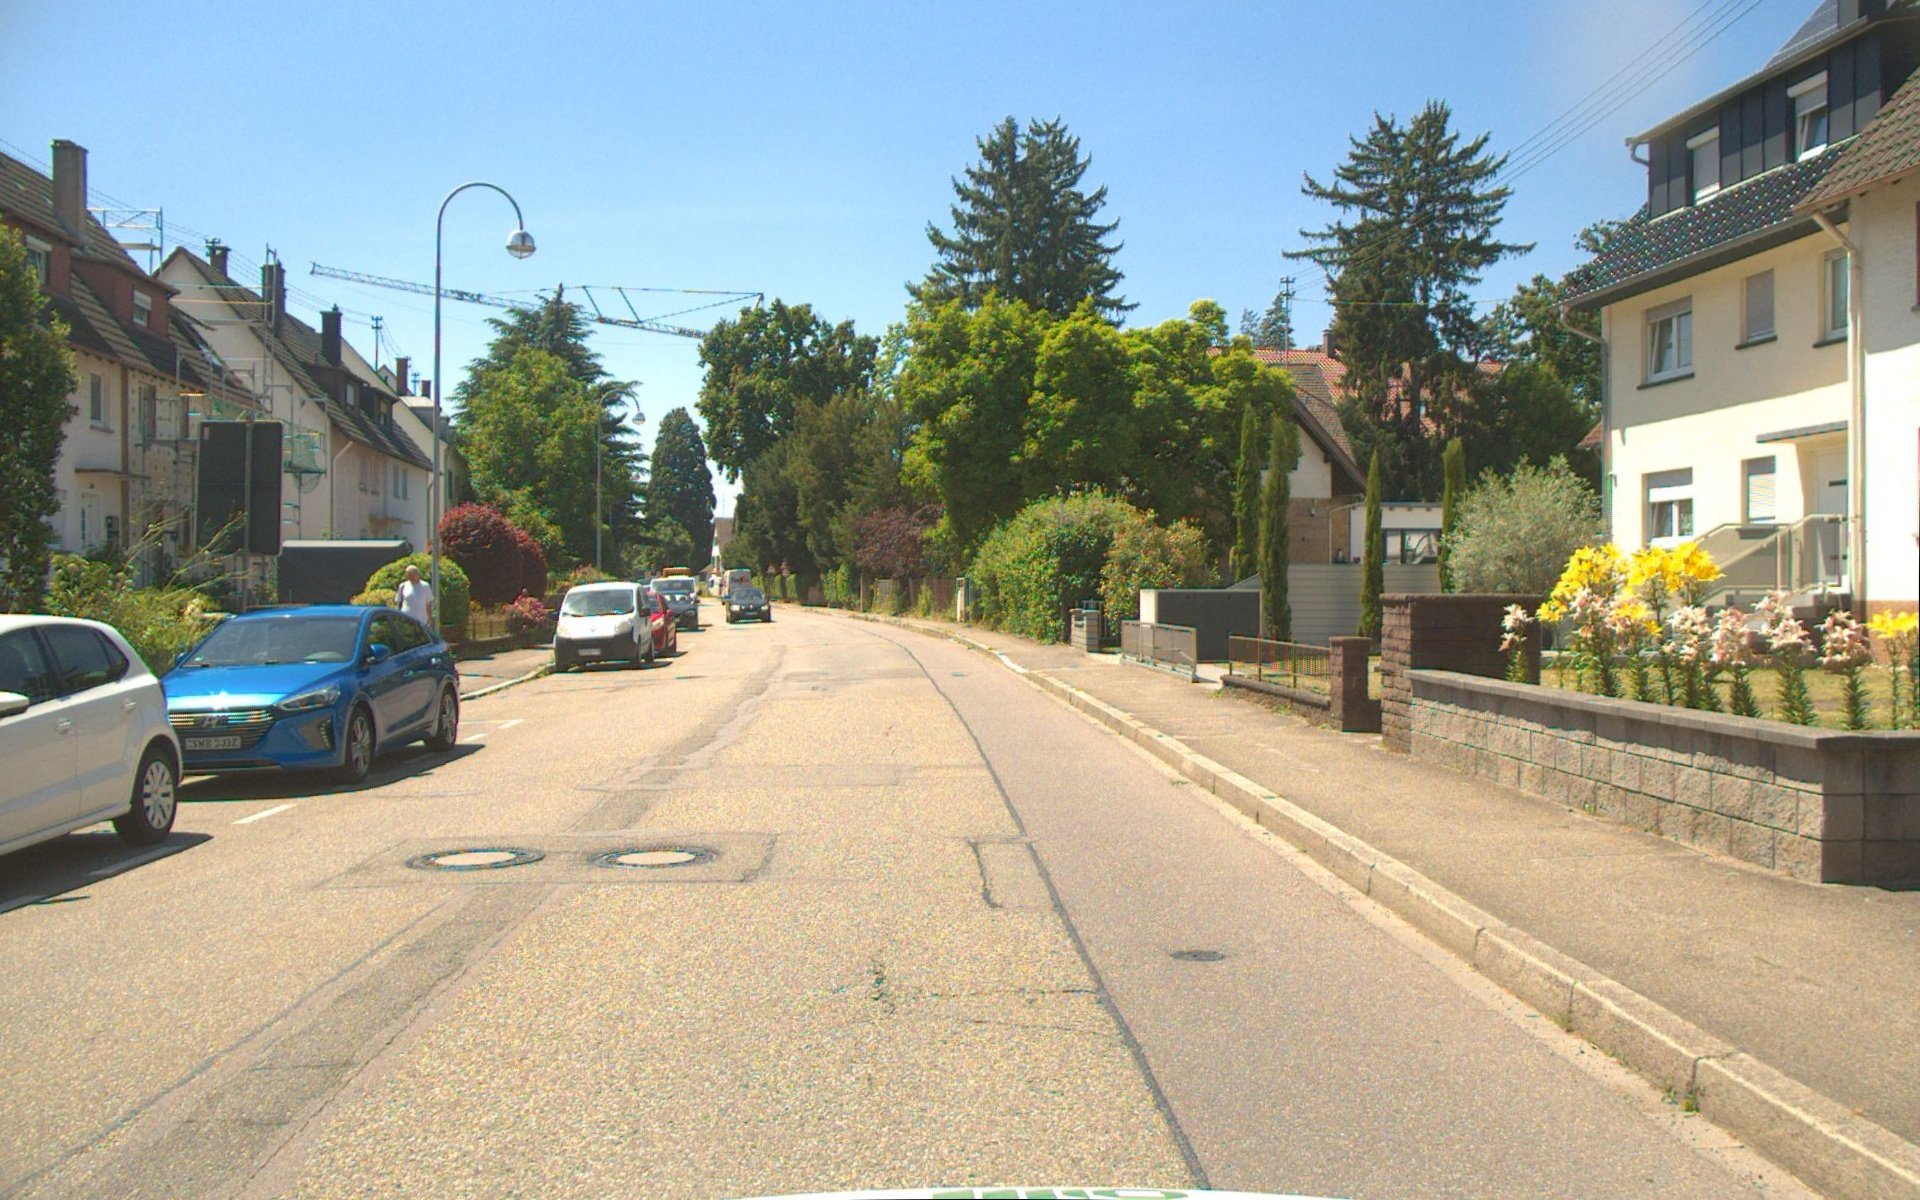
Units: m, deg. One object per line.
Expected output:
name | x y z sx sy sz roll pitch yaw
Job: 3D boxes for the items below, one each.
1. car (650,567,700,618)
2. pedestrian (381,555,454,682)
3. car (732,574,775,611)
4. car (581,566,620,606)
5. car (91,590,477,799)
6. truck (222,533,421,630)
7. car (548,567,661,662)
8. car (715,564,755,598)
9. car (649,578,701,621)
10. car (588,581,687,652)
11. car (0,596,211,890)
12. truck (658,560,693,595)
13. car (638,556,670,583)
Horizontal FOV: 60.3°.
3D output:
car | -11.504 -0.345 66.701 1.852 1.914 4.969 -2 1 -10
pedestrian | -8.582 0.282 26.199 0.675 1.922 1.019 4 0 1
car | -8.703 -0.323 69.679 1.699 1.441 3.994 -2 1 -7
car | -17.071 -0.681 78.708 1.618 1.782 4.343 -2 1 -11
car | -5.771 0.704 14.756 1.733 1.464 4.360 -2 1 -2
truck | -13.817 -0.415 35.962 3.695 1.971 1.545 -1 1 -6
car | -7.266 0.252 34.120 1.689 1.766 3.883 -3 1 -4
car | -16.739 -1.438 122.788 2.110 2.355 4.829 -2 1 -18
car | -10.094 -0.051 58.759 1.667 1.408 4.227 -2 1 -9
car | -7.580 0.348 39.226 1.726 1.503 4.055 -2 1 -4
car | -5.715 0.776 8.996 1.547 1.448 3.939 -3 1 -2
truck | -23.999 -1.885 139.411 2.334 2.879 5.635 -2 1 -15
car | -21.256 -2.090 114.740 1.820 1.700 4.695 -3 1 -14
